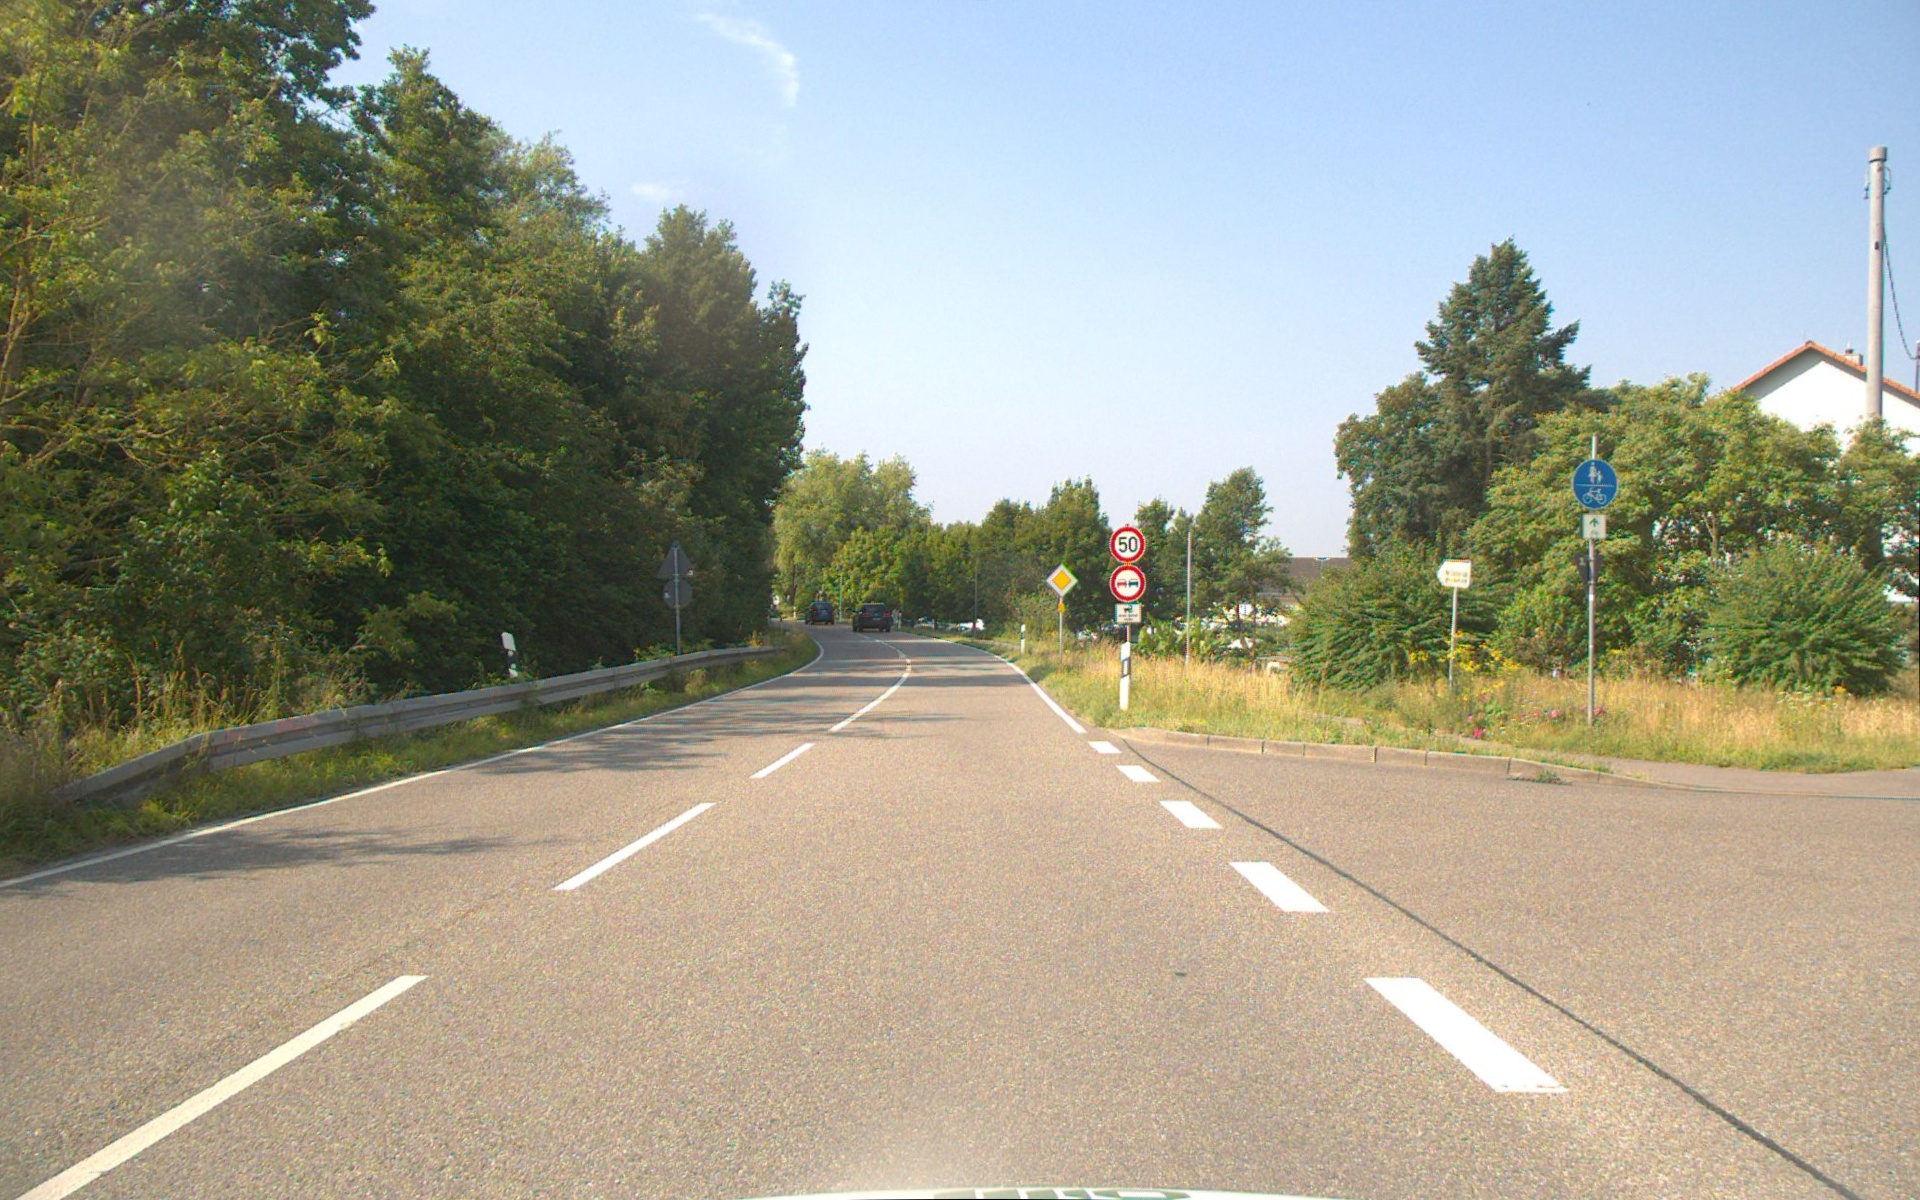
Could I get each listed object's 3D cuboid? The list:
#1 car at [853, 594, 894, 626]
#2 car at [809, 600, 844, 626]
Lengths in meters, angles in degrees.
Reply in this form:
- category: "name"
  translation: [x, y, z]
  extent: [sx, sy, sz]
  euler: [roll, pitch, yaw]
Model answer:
- category: "car"
  translation: [-5.209, 0.565, 98.898]
  extent: [1.891, 1.802, 3.990]
  euler: [2, 0, -11]
- category: "car"
  translation: [-10.015, 0.950, 123.474]
  extent: [1.970, 1.802, 3.986]
  euler: [2, 0, -14]
